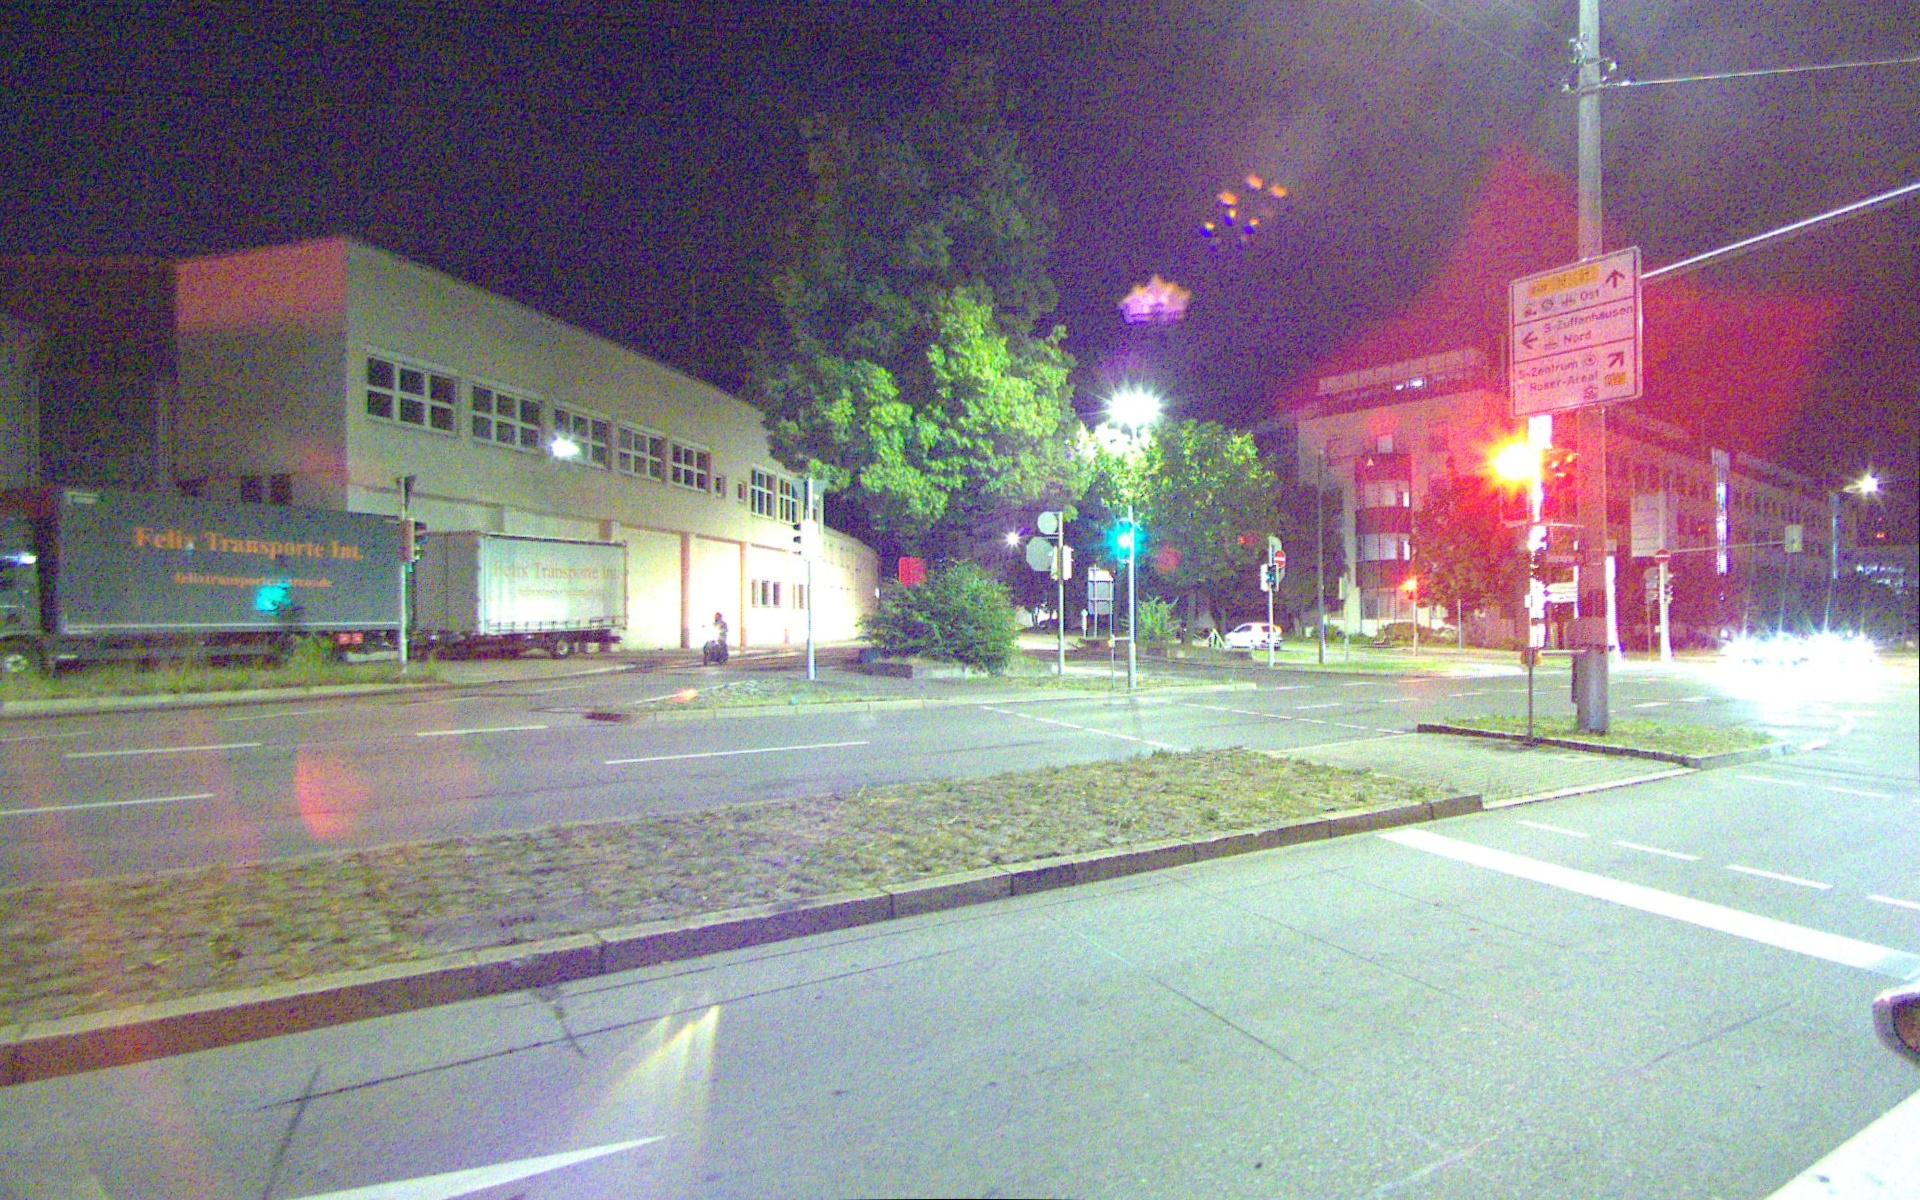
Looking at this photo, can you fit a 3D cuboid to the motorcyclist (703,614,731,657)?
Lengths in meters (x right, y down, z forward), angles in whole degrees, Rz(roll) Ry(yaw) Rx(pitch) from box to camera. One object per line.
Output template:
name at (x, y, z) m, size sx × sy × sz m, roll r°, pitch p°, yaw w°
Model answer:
motorcyclist at (-7.336, 1.078, 30.361) m, size 0.635 × 1.278 × 0.579 m, roll 1°, pitch -1°, yaw 9°

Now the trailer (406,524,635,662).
trailer at (-13.472, -0.093, 31.469) m, size 2.571 × 3.841 × 6.512 m, roll 1°, pitch -1°, yaw 23°

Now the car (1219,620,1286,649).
car at (16.077, 1.901, 55.388) m, size 1.680 × 1.511 × 3.988 m, roll 2°, pitch -1°, yaw -15°

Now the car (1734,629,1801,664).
car at (37.411, 2.137, 46.509) m, size 3.966 × 1.535 × 1.603 m, roll 2°, pitch -2°, yaw -39°

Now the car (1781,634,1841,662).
car at (43.269, 2.426, 51.058) m, size 3.518 × 1.339 × 1.743 m, roll 2°, pitch -2°, yaw -39°

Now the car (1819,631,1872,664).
car at (50.059, 2.666, 56.759) m, size 3.518 × 1.750 × 1.743 m, roll 2°, pitch -2°, yaw -39°

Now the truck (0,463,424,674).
truck at (-17.306, -0.466, 22.421) m, size 2.892 × 3.846 × 9.551 m, roll 1°, pitch -2°, yaw 25°

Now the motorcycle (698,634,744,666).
motorcycle at (-7.218, 1.498, 30.424) m, size 0.568 × 0.907 × 2.157 m, roll -1°, pitch -2°, yaw 9°
